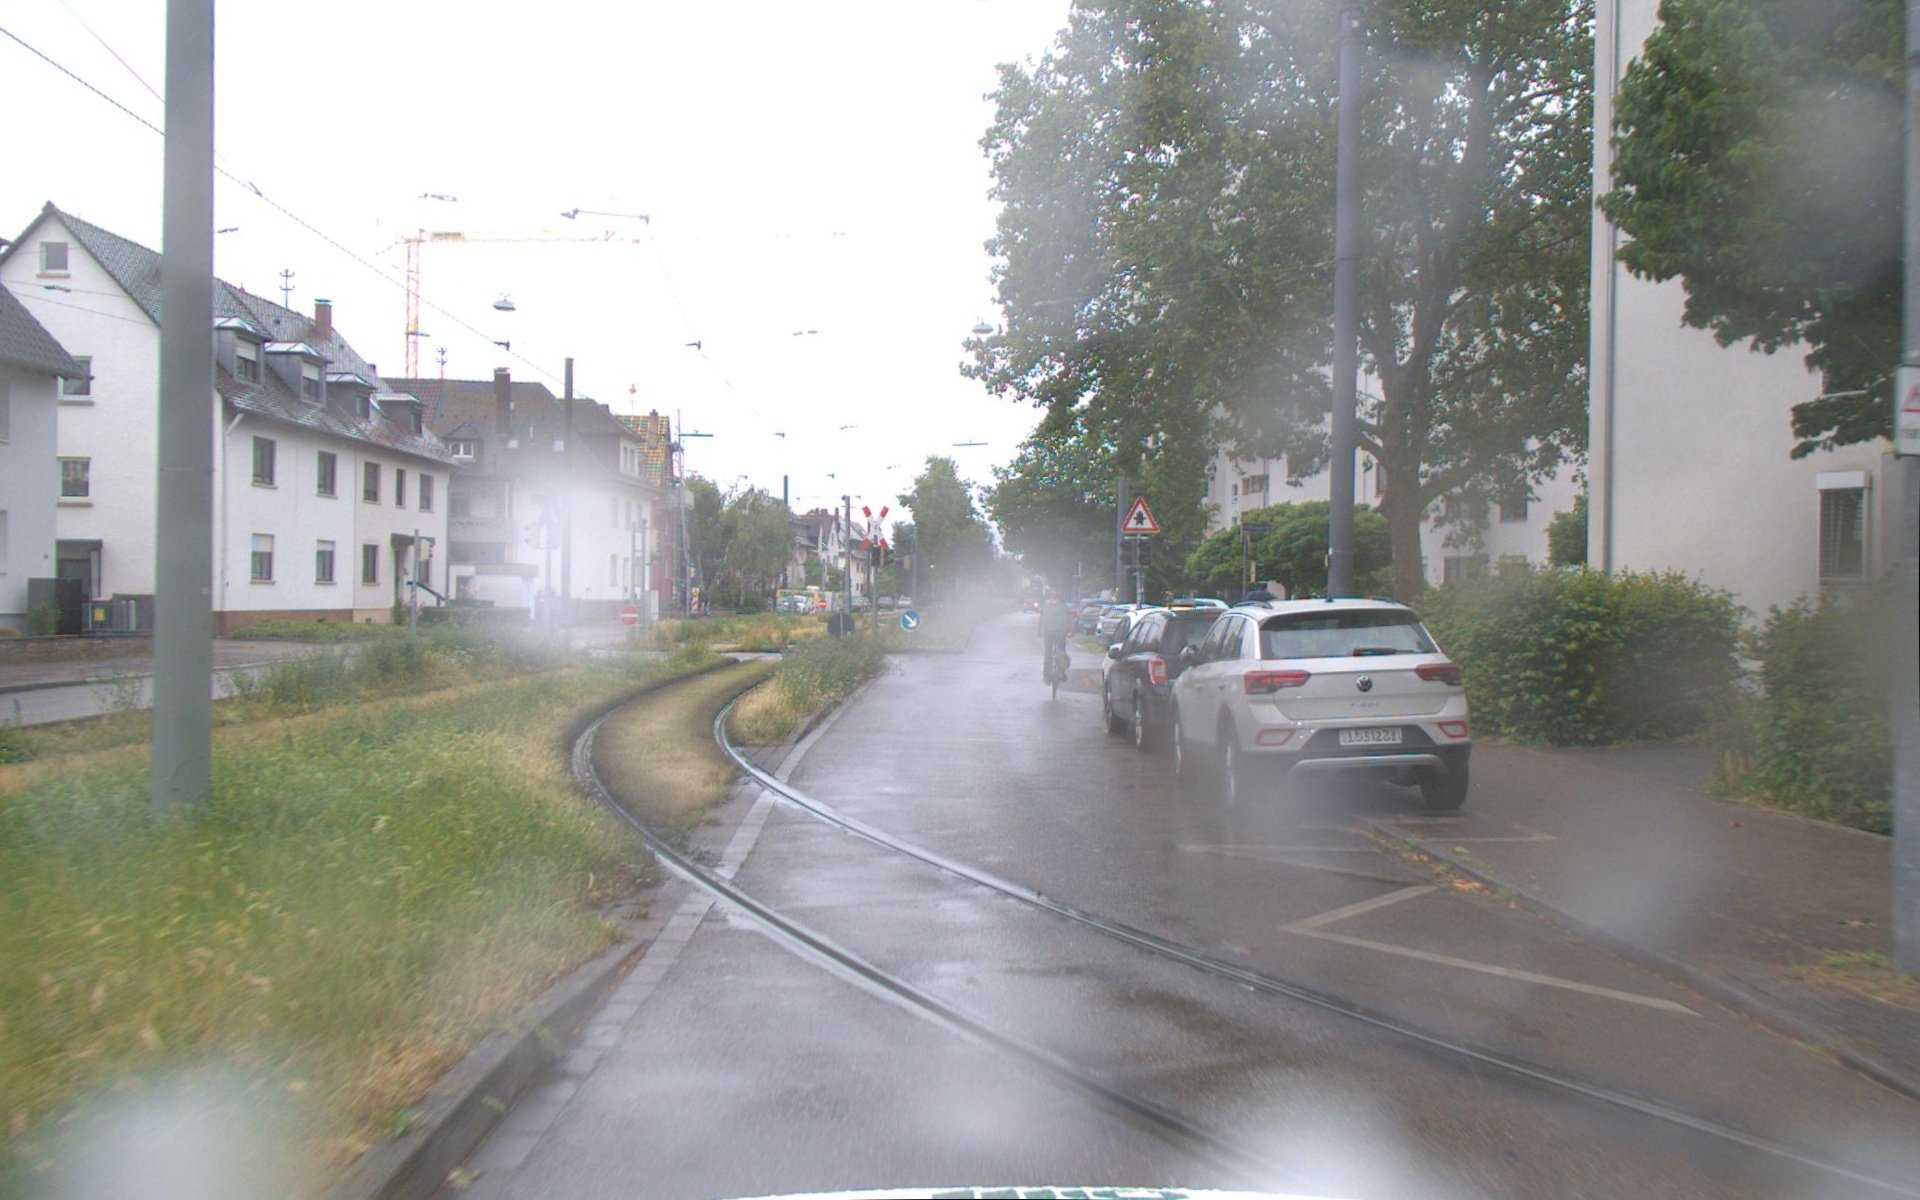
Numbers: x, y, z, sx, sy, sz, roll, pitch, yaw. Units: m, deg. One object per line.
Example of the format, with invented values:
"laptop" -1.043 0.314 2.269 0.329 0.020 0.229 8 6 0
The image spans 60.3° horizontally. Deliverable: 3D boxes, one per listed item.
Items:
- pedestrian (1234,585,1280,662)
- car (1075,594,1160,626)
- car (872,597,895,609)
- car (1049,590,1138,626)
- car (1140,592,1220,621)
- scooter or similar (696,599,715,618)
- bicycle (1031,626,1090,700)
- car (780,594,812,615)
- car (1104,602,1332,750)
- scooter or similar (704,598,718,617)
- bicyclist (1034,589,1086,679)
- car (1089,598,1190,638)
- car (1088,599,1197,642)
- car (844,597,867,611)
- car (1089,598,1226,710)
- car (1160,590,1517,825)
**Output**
"pedestrian" 7.344 0.565 40.907 1.076 1.845 1.435 1 0 11
"car" 7.410 0.455 77.770 3.962 1.454 1.710 0 0 -40
"car" -8.584 0.322 186.406 1.856 1.266 4.690 3 0 6
"car" 6.547 0.374 81.032 4.308 1.680 1.831 0 0 -40
"car" 14.165 0.424 106.681 4.719 1.776 1.994 1 0 -13
"scooter or similar" -15.753 0.539 102.263 0.432 1.149 1.280 0 0 32
"bicycle" 1.643 1.015 27.444 0.793 1.116 2.517 0 0 -1
"car" -12.958 0.312 130.879 1.674 1.569 4.424 3 0 4
"car" 2.802 0.776 18.904 1.861 1.474 4.183 0 0 -2
"scooter or similar" -15.856 0.486 105.370 0.385 1.201 1.283 0 0 17
"bicyclist" 1.647 0.550 27.434 0.793 1.458 1.060 0 0 -1
"car" 7.175 0.718 65.975 3.959 1.534 1.682 0 -2 -38
"car" 6.955 0.768 62.859 3.953 1.534 1.762 0 -2 -35
"car" -10.141 0.413 160.531 1.628 1.266 4.073 3 0 3
"car" 2.910 0.754 25.055 1.526 1.545 3.999 0 0 -1
"car" 2.852 0.730 13.409 1.861 1.602 4.110 0 0 -2
